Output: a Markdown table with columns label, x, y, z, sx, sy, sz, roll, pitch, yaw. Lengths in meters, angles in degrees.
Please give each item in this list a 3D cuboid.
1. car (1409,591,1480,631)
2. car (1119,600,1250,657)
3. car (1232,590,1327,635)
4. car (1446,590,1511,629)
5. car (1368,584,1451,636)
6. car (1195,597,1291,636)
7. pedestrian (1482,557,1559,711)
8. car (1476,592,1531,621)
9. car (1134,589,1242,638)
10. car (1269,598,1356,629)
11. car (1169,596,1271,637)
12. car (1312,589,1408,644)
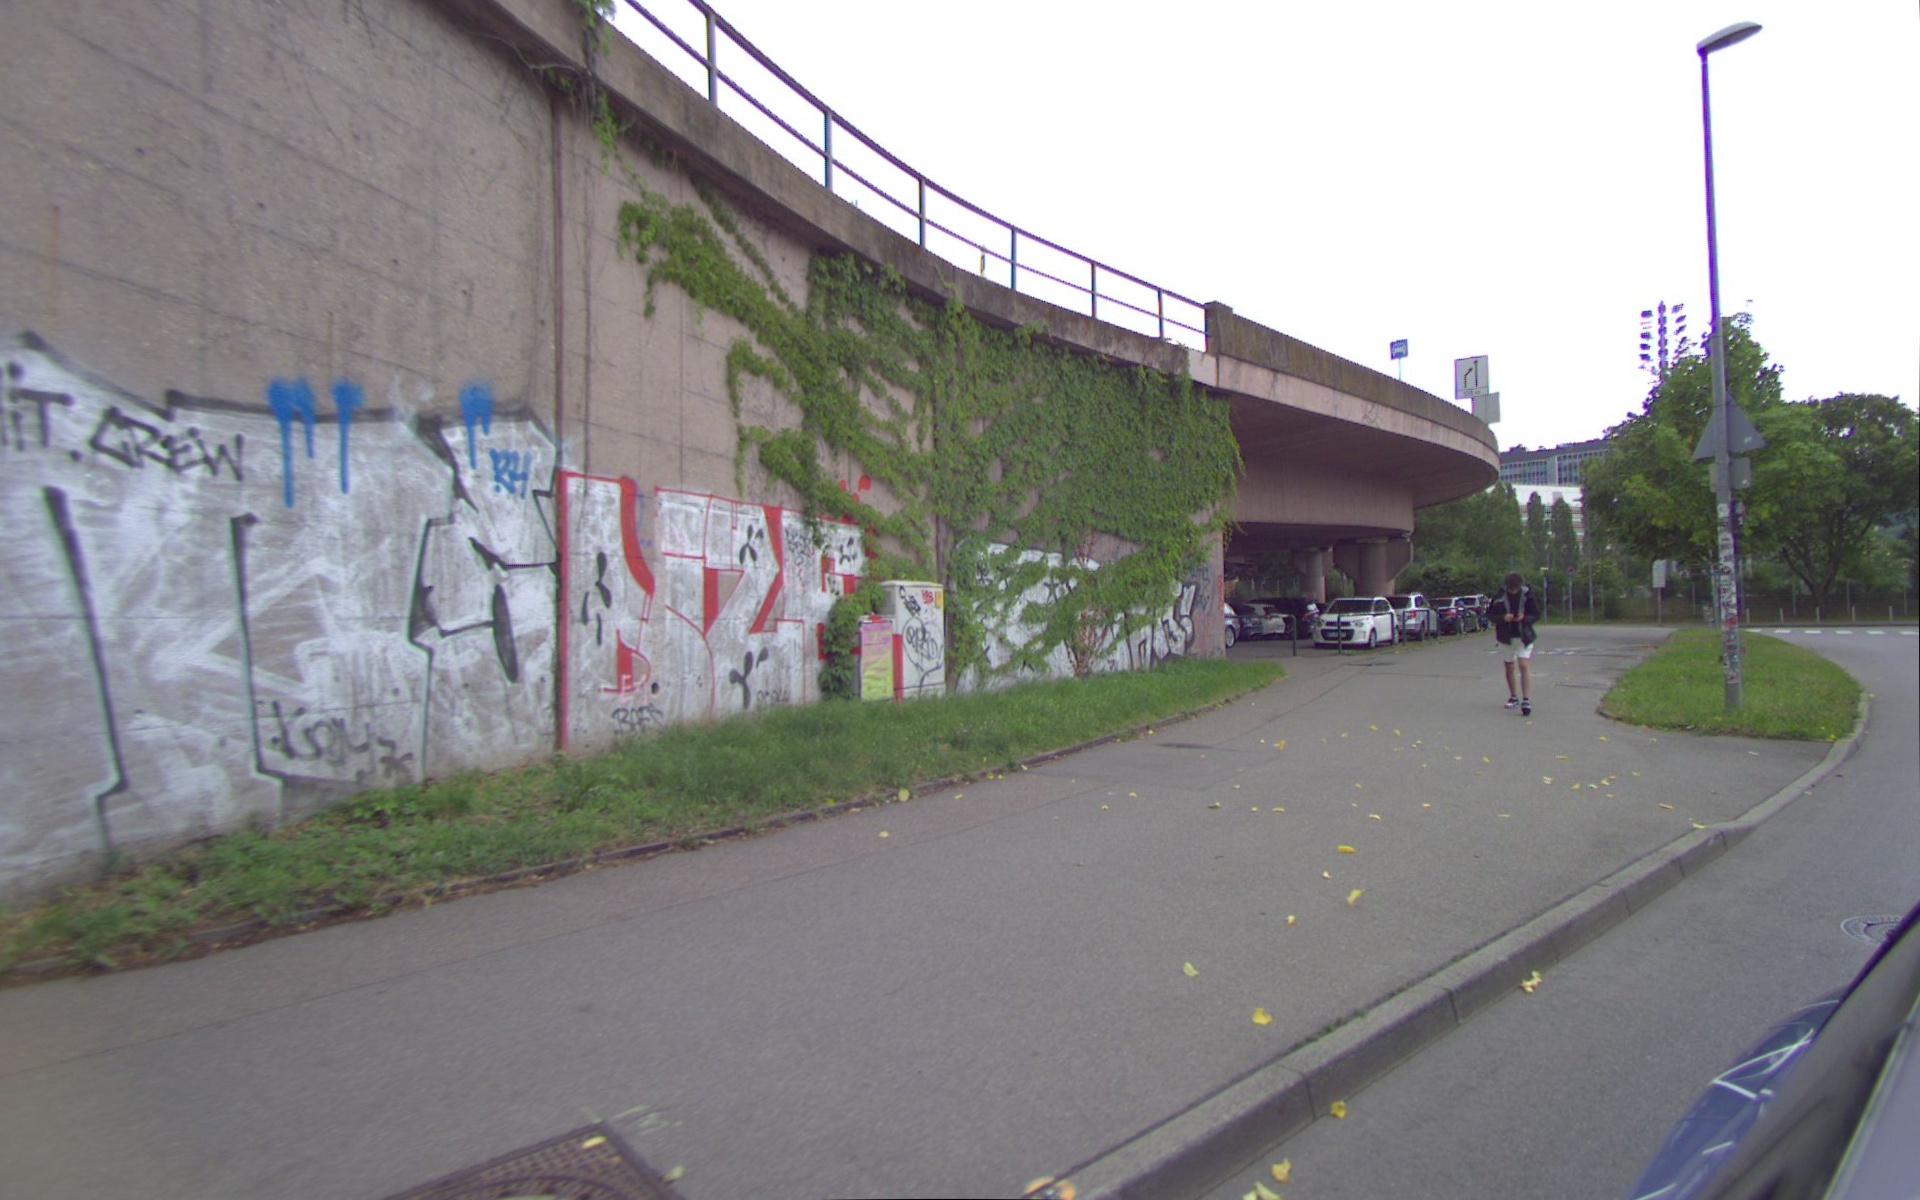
| label | x | y | z | sx | sy | sz | roll | pitch | yaw |
| --- | --- | --- | --- | --- | --- | --- | --- | --- | --- |
| car | 18.009 | 0.410 | 37.524 | 1.618 | 1.333 | 3.726 | -4 | -3 | 37 |
| car | 6.473 | 0.751 | 28.882 | 1.637 | 1.403 | 4.406 | 0 | 1 | 43 |
| car | 12.653 | 0.509 | 40.161 | 3.308 | 1.709 | 1.413 | -2 | -2 | 44 |
| car | 21.373 | 0.380 | 41.618 | 1.617 | 1.392 | 4.121 | -8 | -5 | 36 |
| car | 14.758 | 0.323 | 33.156 | 1.606 | 1.550 | 3.865 | -3 | -2 | 37 |
| car | 10.831 | 0.661 | 38.826 | 3.308 | 1.427 | 1.330 | -2 | -2 | 44 |
| pedestrian | 7.332 | 0.405 | 13.229 | 0.815 | 1.903 | 1.168 | 1 | 1 | 31 |
| car | 24.729 | 0.295 | 45.997 | 1.618 | 1.254 | 4.005 | -1 | -1 | 36 |
| car | 7.940 | 0.482 | 35.418 | 3.309 | 1.618 | 1.641 | -2 | -2 | 44 |
| car | 15.329 | 0.585 | 44.113 | 3.309 | 1.312 | 1.330 | -1 | -1 | 44 |
| car | 9.465 | 0.609 | 36.962 | 3.309 | 1.416 | 1.528 | -2 | -2 | 44 |
| car | 11.497 | 0.442 | 28.976 | 1.602 | 1.463 | 3.427 | -1 | 0 | 39 |
